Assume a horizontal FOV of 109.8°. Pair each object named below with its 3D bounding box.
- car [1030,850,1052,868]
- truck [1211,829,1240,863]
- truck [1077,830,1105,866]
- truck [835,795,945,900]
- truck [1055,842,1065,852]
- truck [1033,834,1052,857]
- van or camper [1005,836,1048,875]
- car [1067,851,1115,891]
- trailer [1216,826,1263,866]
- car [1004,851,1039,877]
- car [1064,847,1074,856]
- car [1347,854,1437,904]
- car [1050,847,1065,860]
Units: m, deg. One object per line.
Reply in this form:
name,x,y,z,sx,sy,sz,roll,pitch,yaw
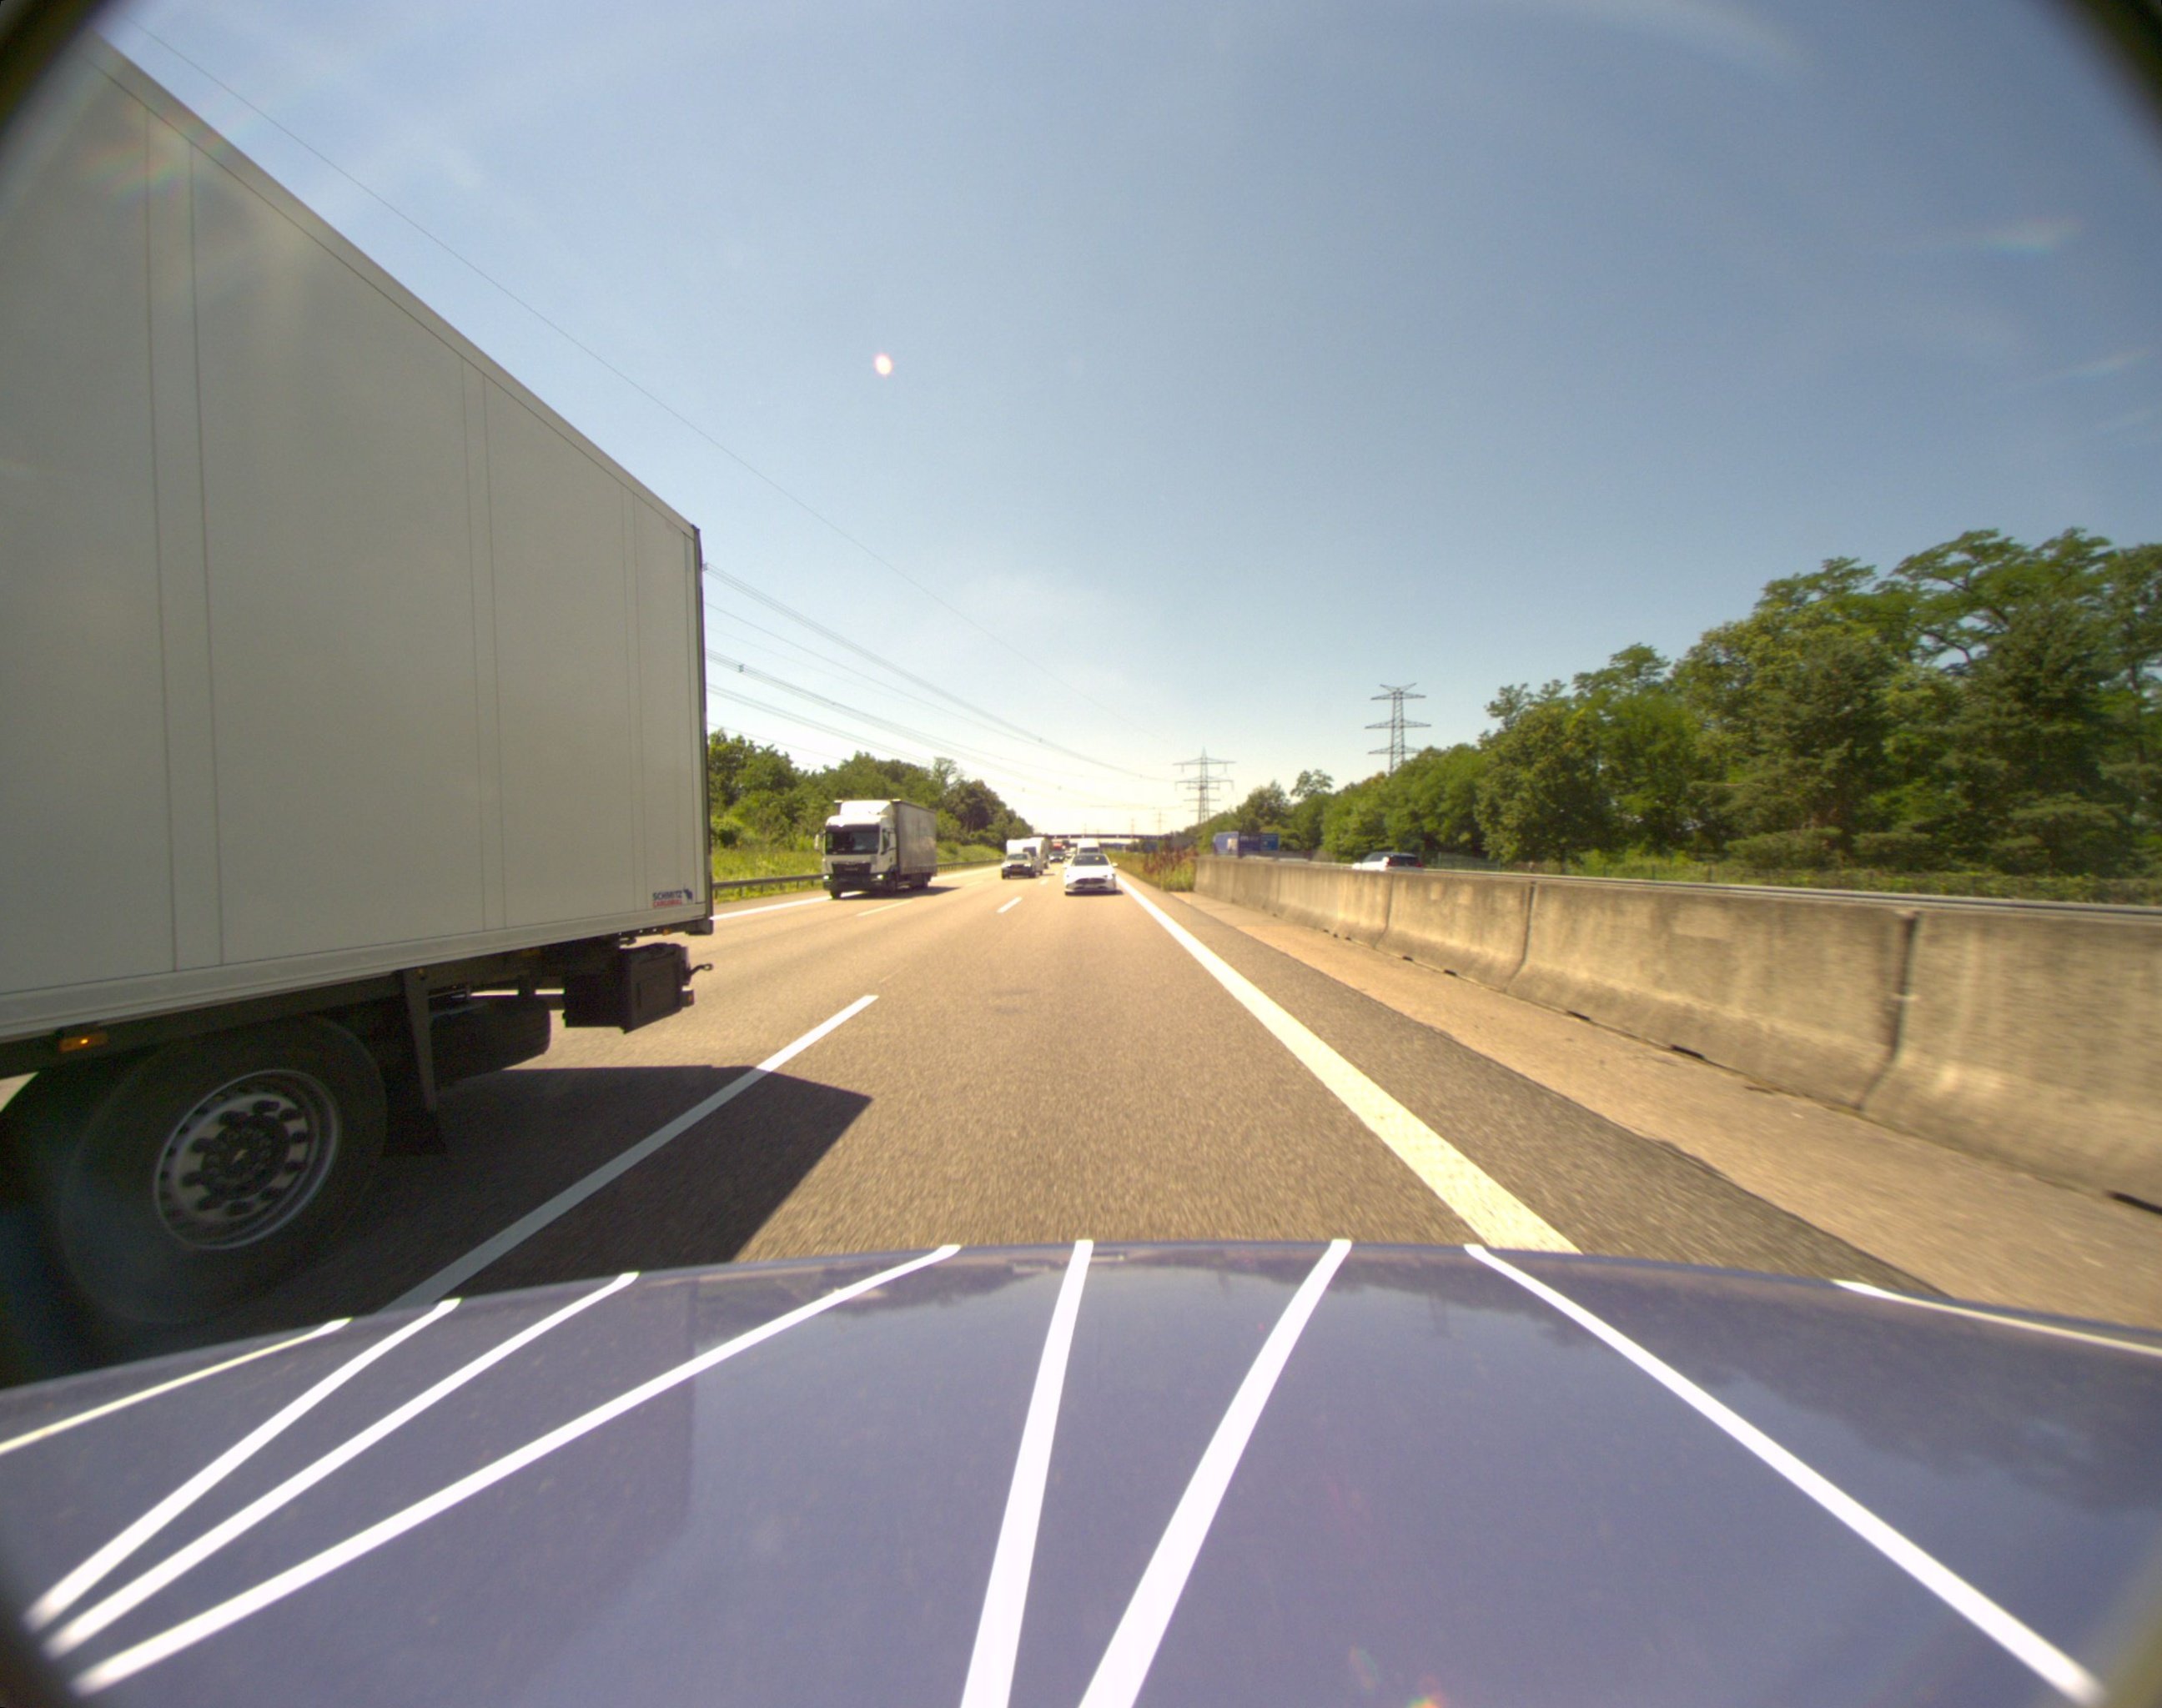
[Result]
car,-3.668,0.433,69.955,1.803,1.533,3.806,0,0,0
truck,18.148,-0.991,95.560,2.473,4.110,5.683,2,1,1
truck,0.871,-0.508,64.804,2.192,2.841,5.503,-2,0,1
truck,-7.826,-0.283,32.535,1.987,3.750,10.042,-1,0,1
truck,-6.152,-1.998,225.488,2.619,2.801,6.593,0,0,1
truck,-6.560,-1.509,130.679,2.584,3.704,8.279,-2,1,0
van or camper,-3.662,0.060,52.557,2.411,2.483,6.431,-1,0,1
car,0.402,0.647,30.995,1.788,1.462,3.999,-2,1,1
trailer,18.080,-0.924,87.729,2.478,4.107,13.464,2,1,0
car,-3.663,0.579,47.283,1.788,1.520,4.104,-1,0,1
car,-2.618,-0.585,164.806,1.998,2.002,4.000,0,1,1
car,13.837,1.038,34.130,1.998,2.002,4.938,2,1,1
car,-3.298,-0.060,105.532,1.904,1.662,4.000,-1,0,0
